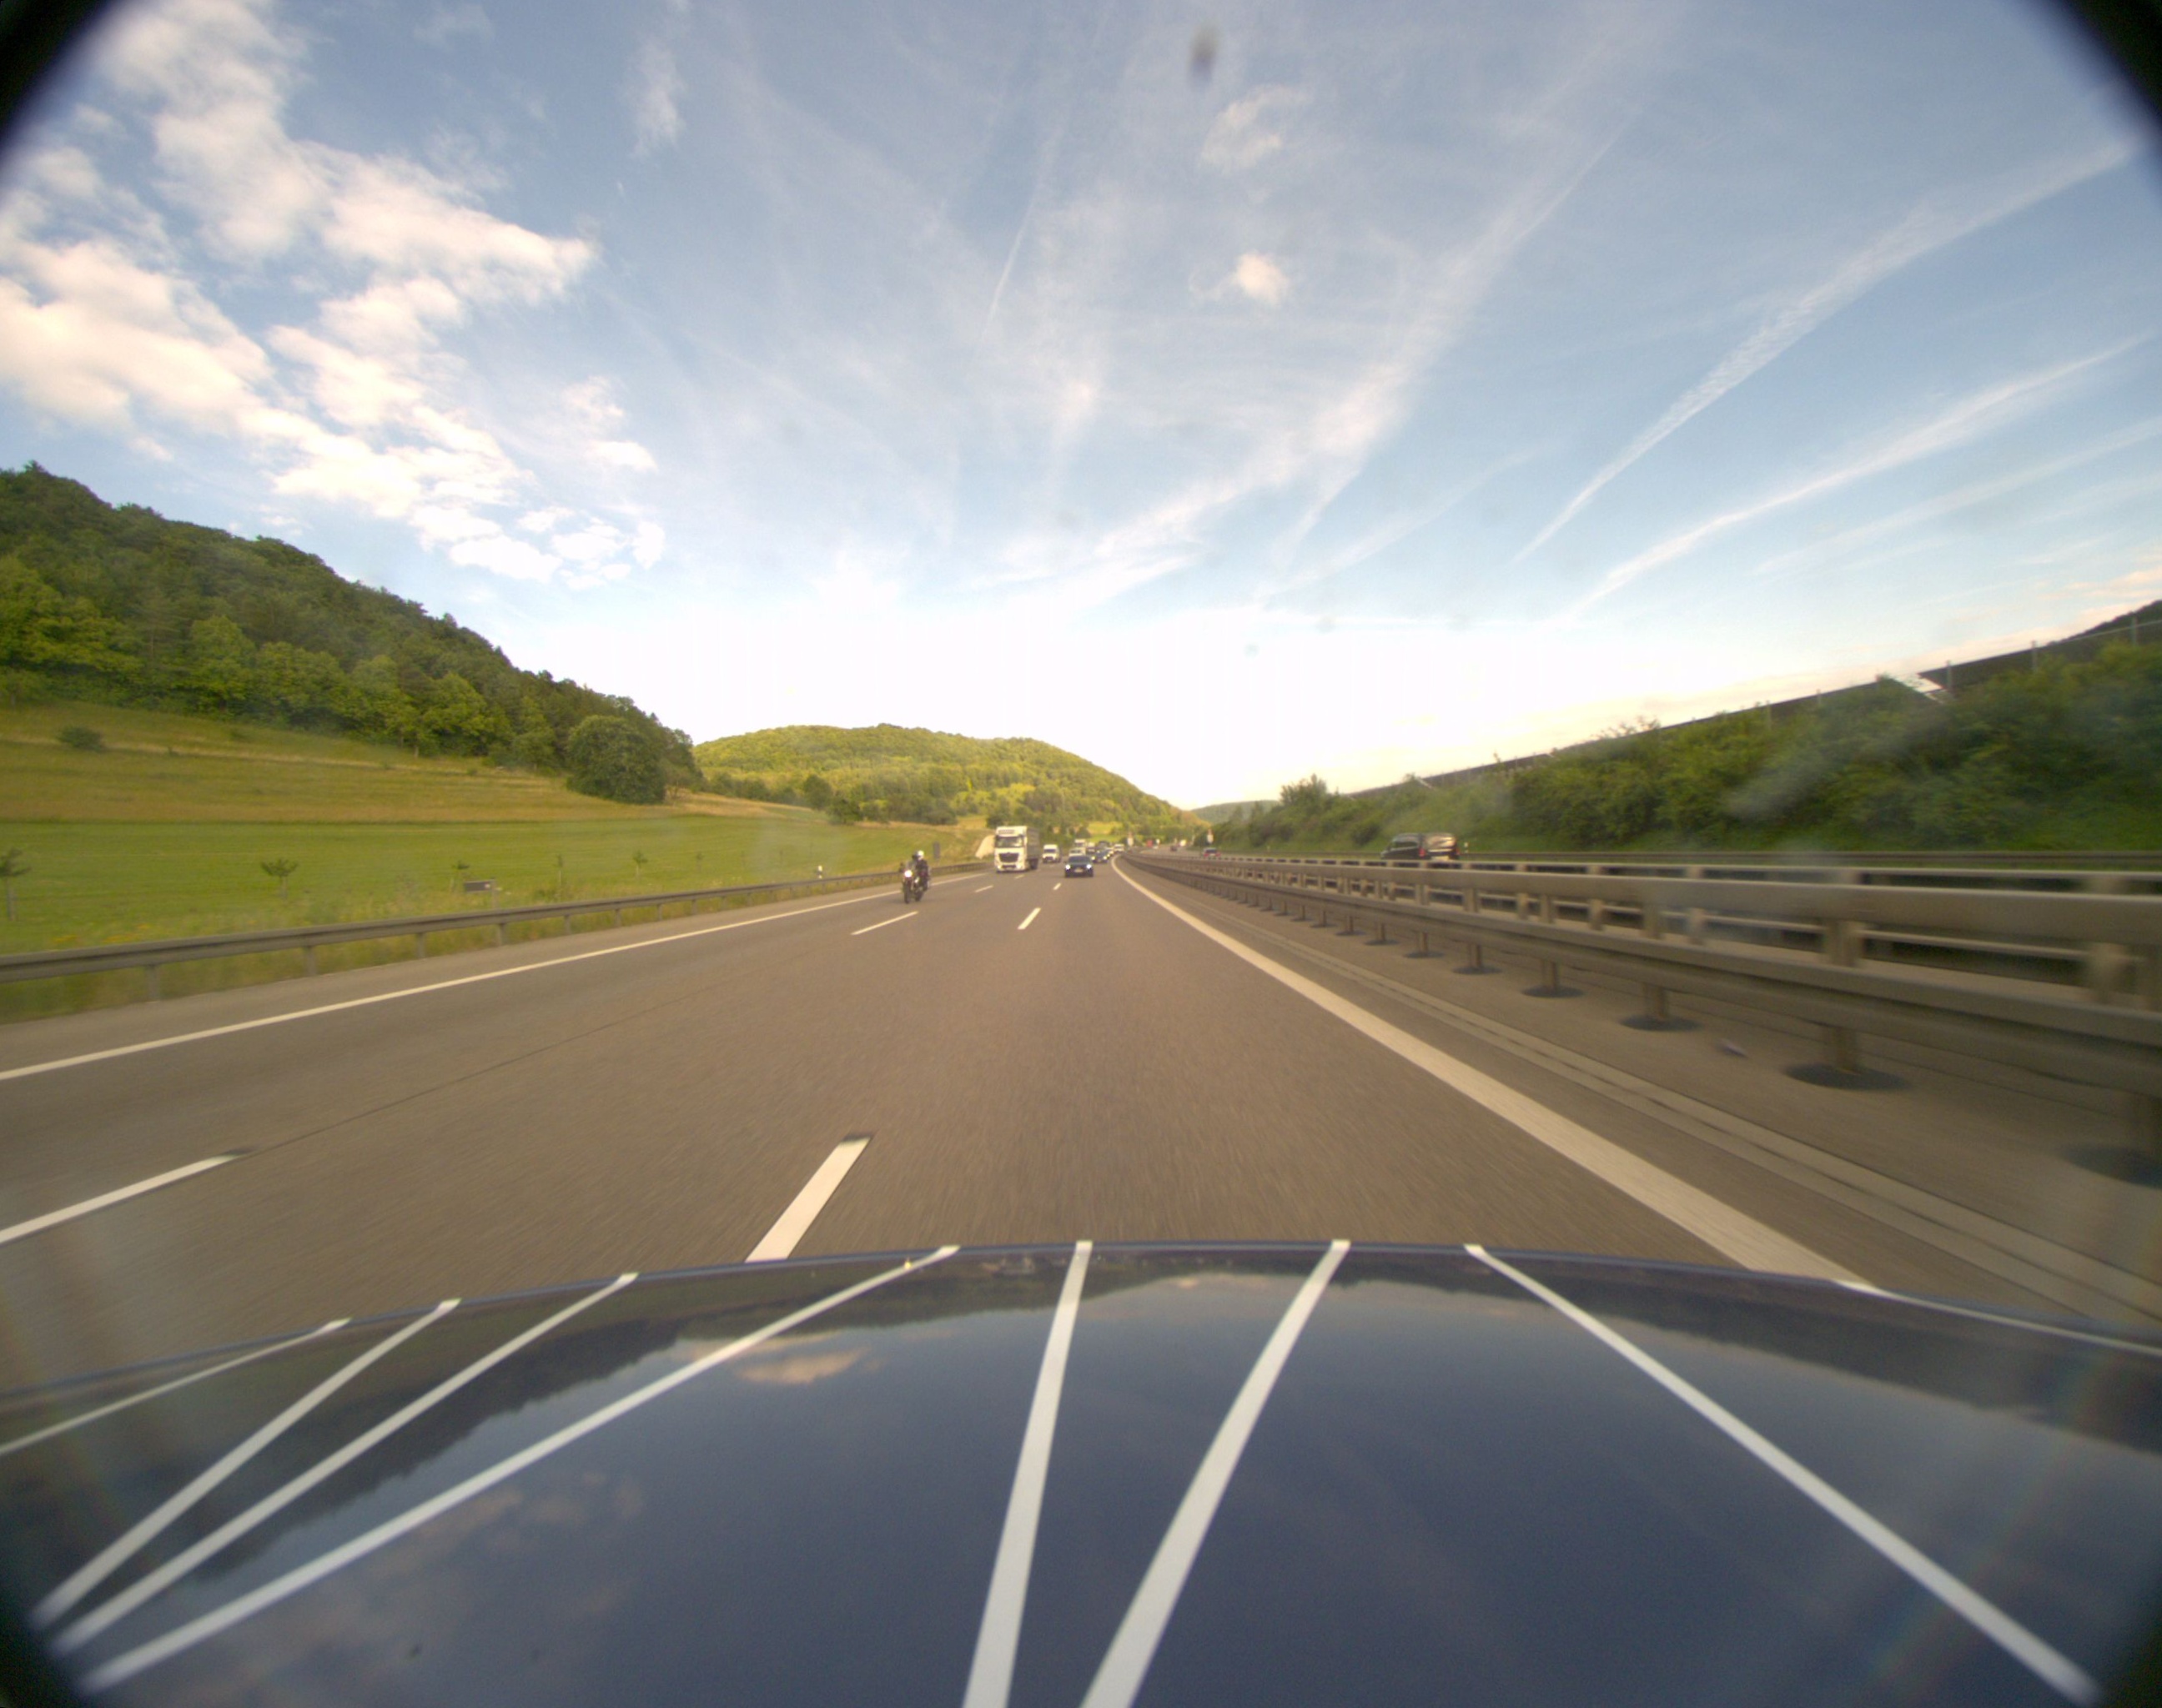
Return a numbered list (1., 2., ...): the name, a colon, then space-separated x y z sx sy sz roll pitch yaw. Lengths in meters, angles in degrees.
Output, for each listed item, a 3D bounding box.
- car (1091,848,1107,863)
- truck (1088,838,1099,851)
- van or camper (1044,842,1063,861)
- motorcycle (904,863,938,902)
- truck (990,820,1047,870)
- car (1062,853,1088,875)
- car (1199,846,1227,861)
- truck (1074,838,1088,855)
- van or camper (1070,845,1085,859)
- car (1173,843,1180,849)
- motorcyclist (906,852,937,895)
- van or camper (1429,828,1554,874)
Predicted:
1. car: 2.216 0.175 93.909 1.998 1.871 4.000 -1 0 1
2. truck: 3.523 -2.729 214.346 2.708 3.627 9.034 -2 1 3
3. van or camper: -3.870 -0.378 109.202 1.998 2.701 7.524 -2 0 3
4. motorcycle: -5.808 1.009 27.636 0.628 1.331 1.740 -2 1 7
5. truck: -5.451 -0.836 70.491 2.971 3.969 17.732 -2 1 3
6. car: -0.386 0.622 49.421 1.580 1.310 3.999 -2 1 0
7. car: 13.733 -0.117 79.512 1.999 1.422 4.585 -2 1 -1
8. truck: -0.035 -1.849 182.516 2.925 3.876 13.006 -2 1 0
9. van or camper: -0.503 -0.279 108.751 1.998 1.881 4.487 -2 1 1
10. car: 27.453 -2.337 218.923 1.710 1.407 4.000 -2 1 2
11. motorcyclist: -5.809 0.694 27.756 0.879 1.506 0.797 -2 1 2
12. van or camper: 16.313 -0.110 30.619 1.999 1.650 5.453 -1 0 -1
